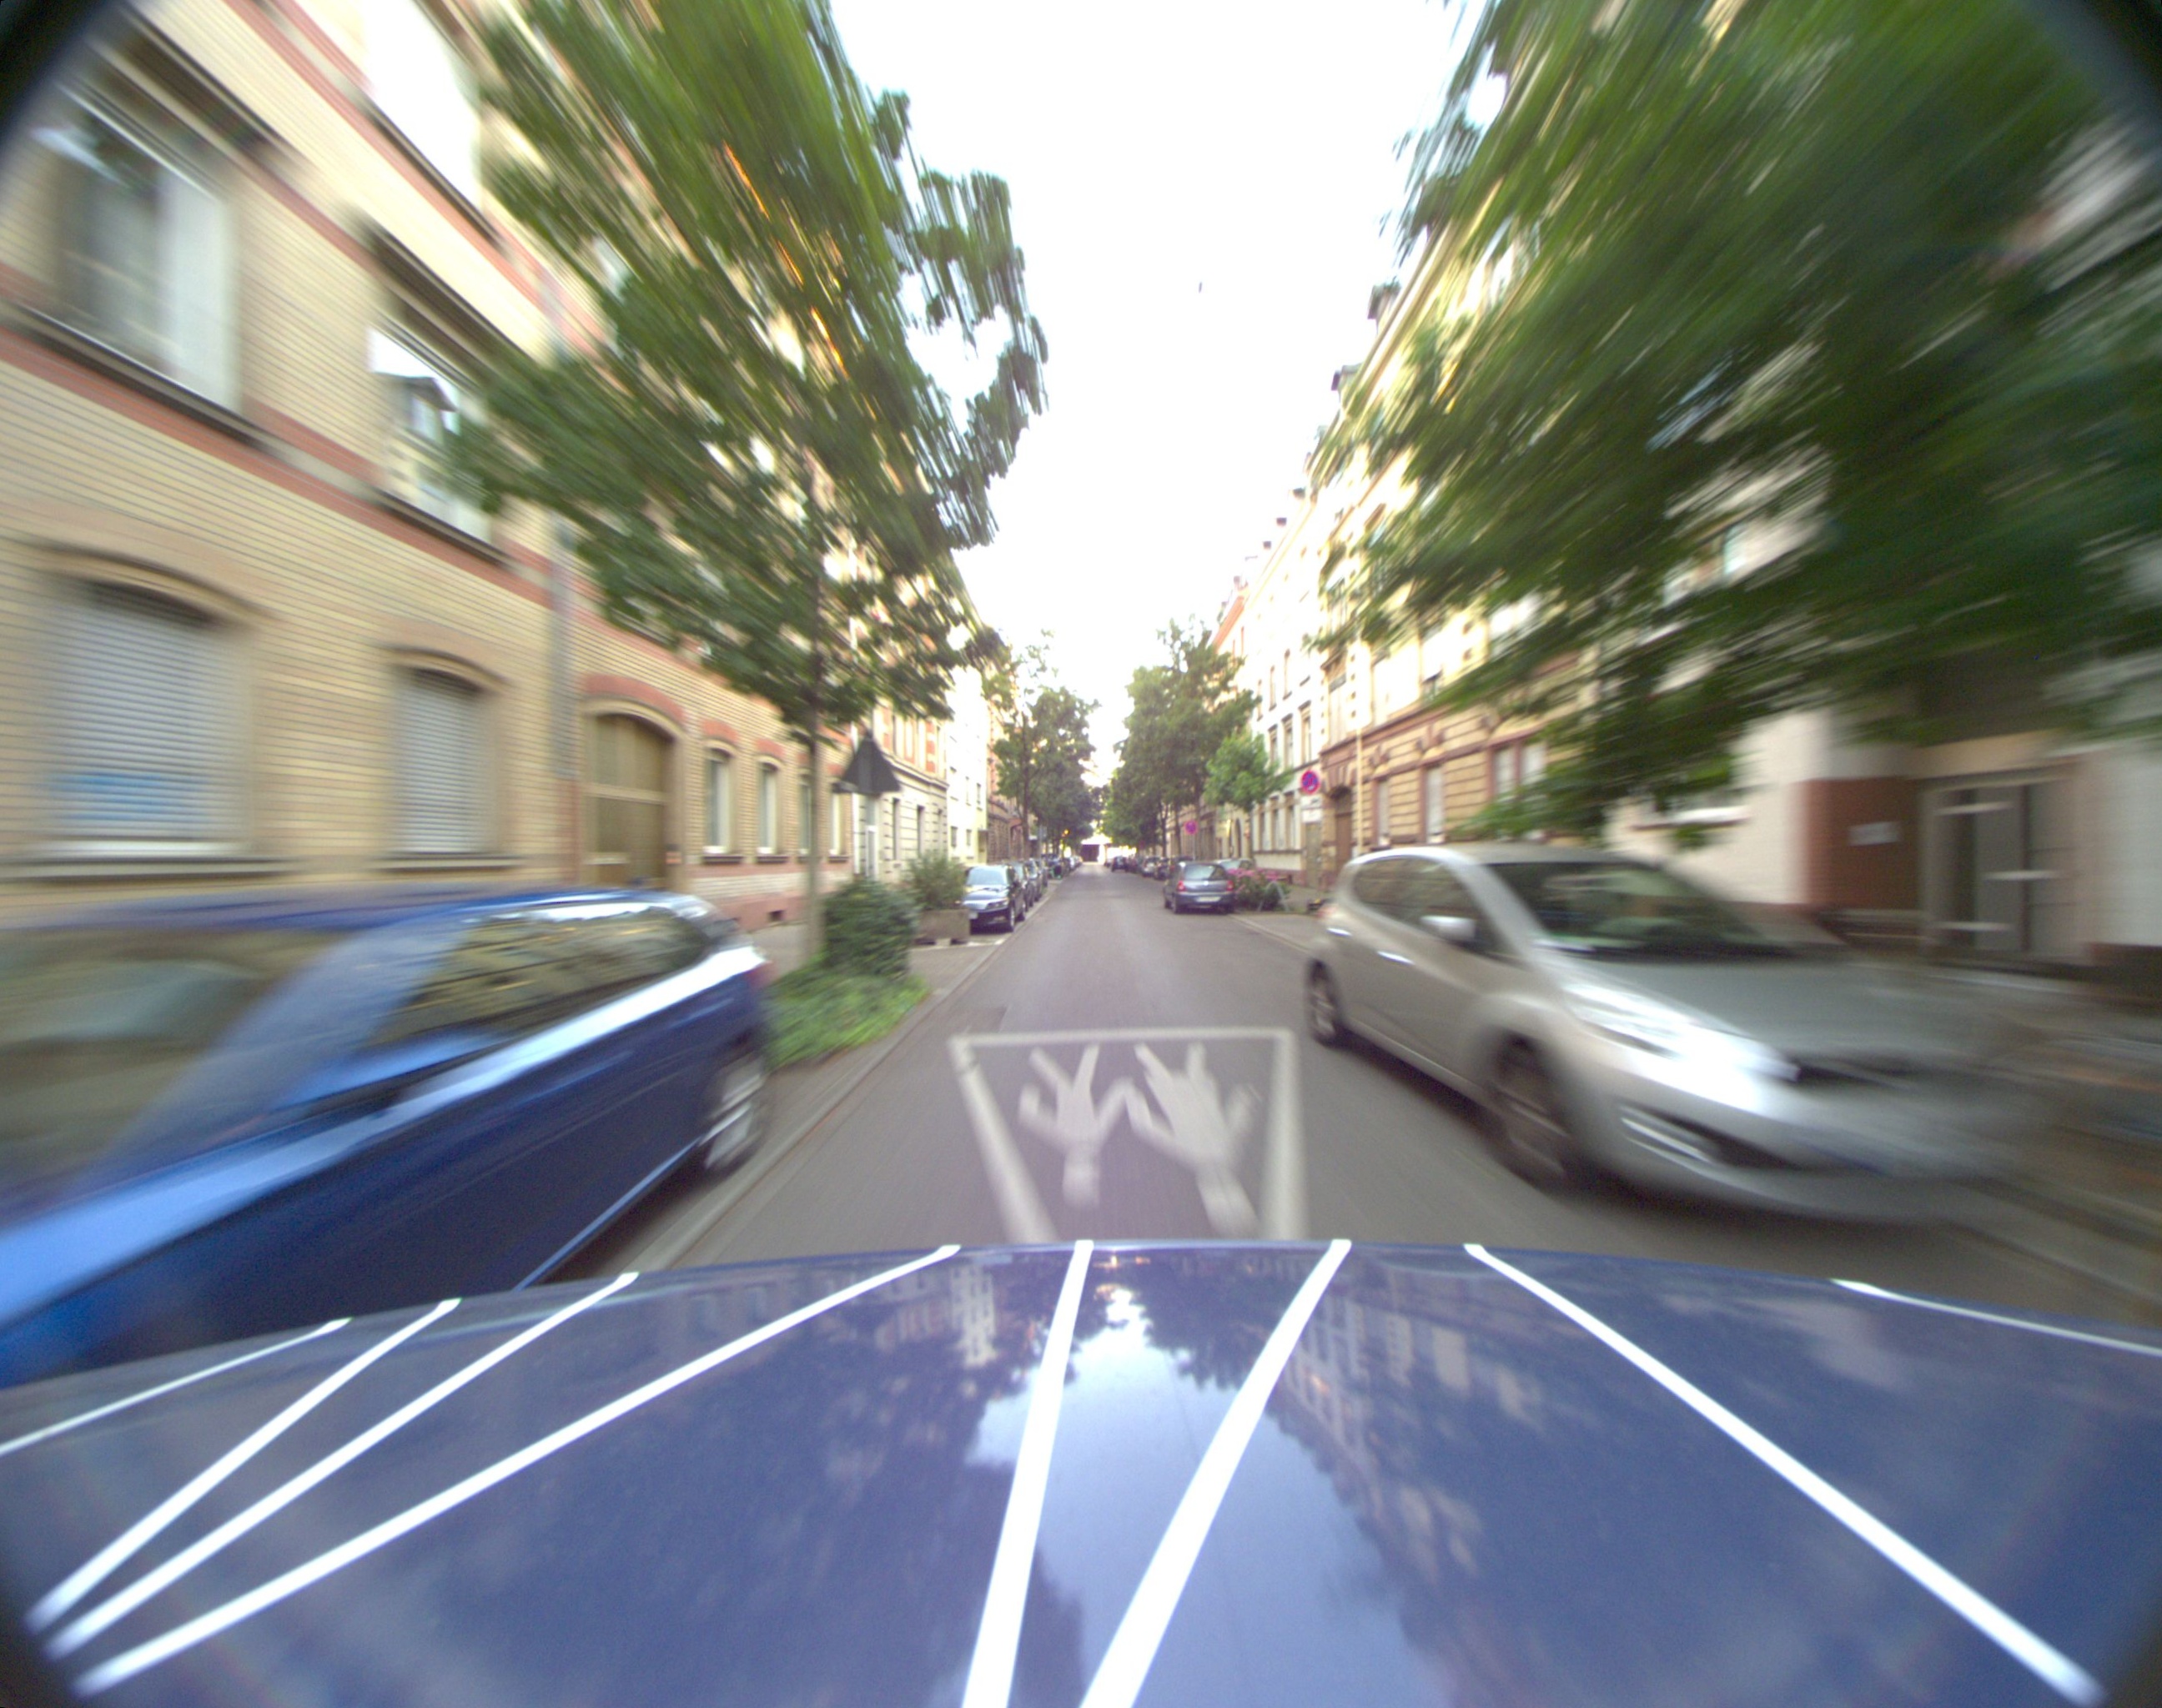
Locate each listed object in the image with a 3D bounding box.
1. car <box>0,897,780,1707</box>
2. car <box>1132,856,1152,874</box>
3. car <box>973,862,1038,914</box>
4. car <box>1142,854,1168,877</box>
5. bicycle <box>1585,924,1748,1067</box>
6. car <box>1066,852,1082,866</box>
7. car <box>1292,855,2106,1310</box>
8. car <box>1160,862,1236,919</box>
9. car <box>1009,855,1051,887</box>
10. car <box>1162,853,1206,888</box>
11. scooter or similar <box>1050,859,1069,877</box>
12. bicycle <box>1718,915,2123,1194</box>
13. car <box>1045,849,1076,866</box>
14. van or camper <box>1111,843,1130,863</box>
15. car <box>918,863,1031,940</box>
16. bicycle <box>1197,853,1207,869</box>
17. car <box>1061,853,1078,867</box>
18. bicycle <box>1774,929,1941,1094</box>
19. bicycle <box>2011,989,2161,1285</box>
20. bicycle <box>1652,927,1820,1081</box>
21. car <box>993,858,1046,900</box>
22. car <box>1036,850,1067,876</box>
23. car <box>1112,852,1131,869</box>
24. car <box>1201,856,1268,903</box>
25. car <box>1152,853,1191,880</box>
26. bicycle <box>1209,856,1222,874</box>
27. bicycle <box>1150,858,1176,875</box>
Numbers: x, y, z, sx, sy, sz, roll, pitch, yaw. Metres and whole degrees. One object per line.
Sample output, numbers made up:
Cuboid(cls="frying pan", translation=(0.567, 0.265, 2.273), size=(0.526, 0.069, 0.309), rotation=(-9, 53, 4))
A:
Cuboid(cls="car", translation=(-2.456, 0.989, 2.057), size=(1.632, 1.458, 4.245), rotation=(-1, 0, -1))
Cuboid(cls="car", translation=(5.494, 0.969, 69.149), size=(1.523, 1.493, 3.561), rotation=(-3, 0, 1))
Cuboid(cls="car", translation=(-2.219, 0.980, 23.227), size=(1.640, 1.415, 3.564), rotation=(0, 0, 0))
Cuboid(cls="car", translation=(5.469, 0.825, 56.390), size=(1.680, 1.598, 3.862), rotation=(-2, 0, 3))
Cuboid(cls="bicycle", translation=(4.800, 1.100, 6.193), size=(1.707, 0.902, 0.383), rotation=(-2, 1, -29))
Cuboid(cls="car", translation=(-0.899, 0.614, 96.453), size=(1.944, 1.621, 4.454), rotation=(-2, 0, 1))
Cuboid(cls="car", translation=(2.764, 0.804, 4.688), size=(1.668, 1.554, 3.999), rotation=(-1, 0, -2))
Cuboid(cls="car", translation=(3.236, 0.971, 21.600), size=(1.584, 1.412, 3.753), rotation=(-1, 0, 1))
Cuboid(cls="car", translation=(-2.486, 0.813, 37.755), size=(1.763, 1.454, 4.307), rotation=(-1, 0, 0))
Cuboid(cls="car", translation=(5.051, 0.768, 37.706), size=(1.710, 1.571, 4.078), rotation=(-3, 0, 2))
Cuboid(cls="scooter or similar", translation=(-1.428, 0.950, 51.216), size=(0.673, 1.183, 1.118), rotation=(2, 2, 40))
Cuboid(cls="bicycle", translation=(4.478, 0.973, 4.251), size=(0.420, 1.097, 1.665), rotation=(-2, 1, 0))
Cuboid(cls="car", translation=(-1.951, 0.349, 73.286), size=(2.804, 1.590, 1.800), rotation=(2, 1, 1))
Cuboid(cls="van or camper", translation=(5.022, -0.118, 97.851), size=(2.225, 2.417, 5.660), rotation=(0, 0, 1))
Cuboid(cls="car", translation=(-2.213, 0.945, 16.905), size=(1.771, 1.407, 4.474), rotation=(1, 0, 1))
Cuboid(cls="bicycle", translation=(8.919, 0.521, 56.144), size=(0.462, 1.083, 1.630), rotation=(-4, -1, 2))
Cuboid(cls="car", translation=(-1.255, 0.595, 82.674), size=(1.737, 1.482, 4.104), rotation=(-1, 0, 1))
Cuboid(cls="bicycle", translation=(5.552, 1.061, 5.408), size=(1.667, 0.893, 0.383), rotation=(-2, 1, -29))
Cuboid(cls="bicycle", translation=(4.690, 1.085, 2.658), size=(1.726, 0.989, 0.578), rotation=(-1, 0, 34))
Cuboid(cls="bicycle", translation=(5.014, 1.081, 5.787), size=(1.707, 0.893, 0.383), rotation=(-2, 1, -29))
Cuboid(cls="car", translation=(-2.261, 0.895, 28.837), size=(1.721, 1.467, 4.367), rotation=(0, 0, -1))
Cuboid(cls="car", translation=(-2.092, 0.628, 55.452), size=(2.018, 1.822, 4.811), rotation=(1, 0, 1))
Cuboid(cls="car", translation=(4.074, 0.639, 77.276), size=(1.728, 1.564, 4.219), rotation=(-1, 0, 1))
Cuboid(cls="car", translation=(5.336, 0.849, 26.762), size=(1.591, 1.428, 3.566), rotation=(-3, 0, 1))
Cuboid(cls="car", translation=(5.508, 0.716, 46.561), size=(1.810, 1.509, 4.685), rotation=(-3, 0, 1))
Cuboid(cls="bicycle", translation=(8.584, 0.695, 48.470), size=(0.527, 1.091, 1.795), rotation=(-1, 0, 1))
Cuboid(cls="bicycle", translation=(5.591, 0.859, 51.730), size=(1.688, 0.997, 0.430), rotation=(-4, 1, 2))
